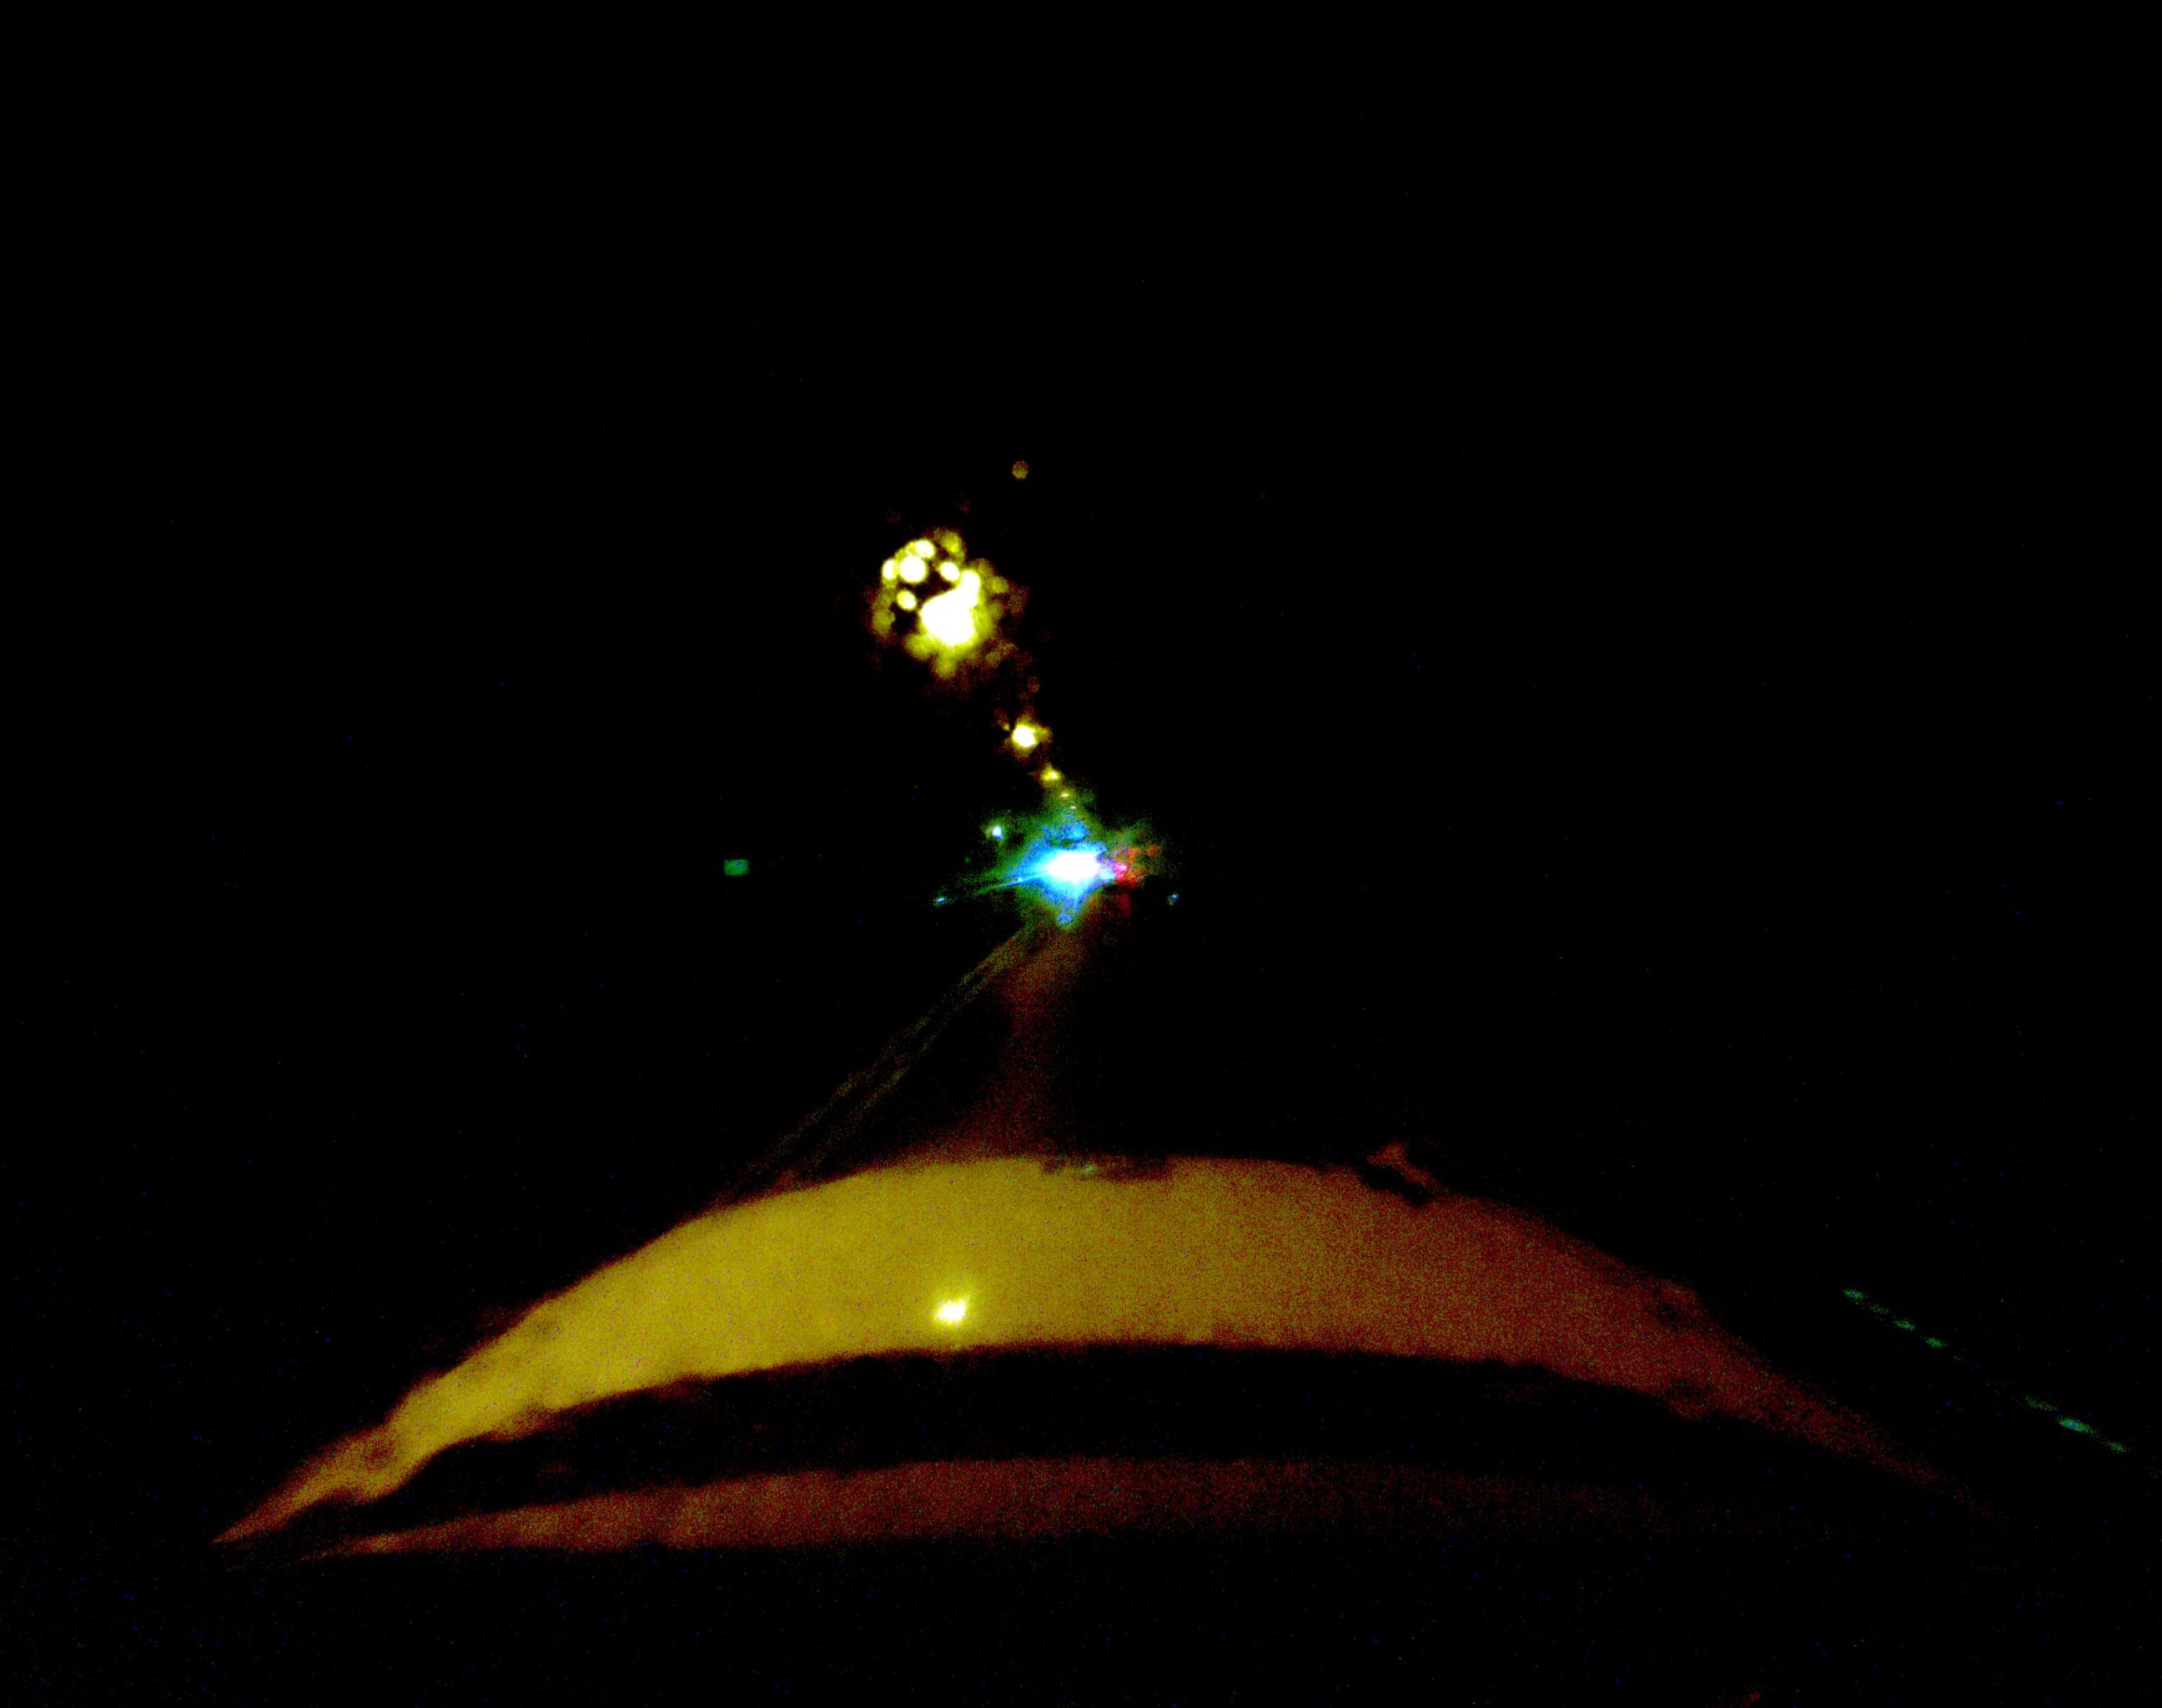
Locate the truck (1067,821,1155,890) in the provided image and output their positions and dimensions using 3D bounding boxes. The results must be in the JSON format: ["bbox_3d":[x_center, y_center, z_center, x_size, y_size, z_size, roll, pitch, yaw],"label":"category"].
[{"bbox_3d":[1.401,0.065,38.307,3.521,2.693,8.960,-3,0,2],"label":"truck"}]
